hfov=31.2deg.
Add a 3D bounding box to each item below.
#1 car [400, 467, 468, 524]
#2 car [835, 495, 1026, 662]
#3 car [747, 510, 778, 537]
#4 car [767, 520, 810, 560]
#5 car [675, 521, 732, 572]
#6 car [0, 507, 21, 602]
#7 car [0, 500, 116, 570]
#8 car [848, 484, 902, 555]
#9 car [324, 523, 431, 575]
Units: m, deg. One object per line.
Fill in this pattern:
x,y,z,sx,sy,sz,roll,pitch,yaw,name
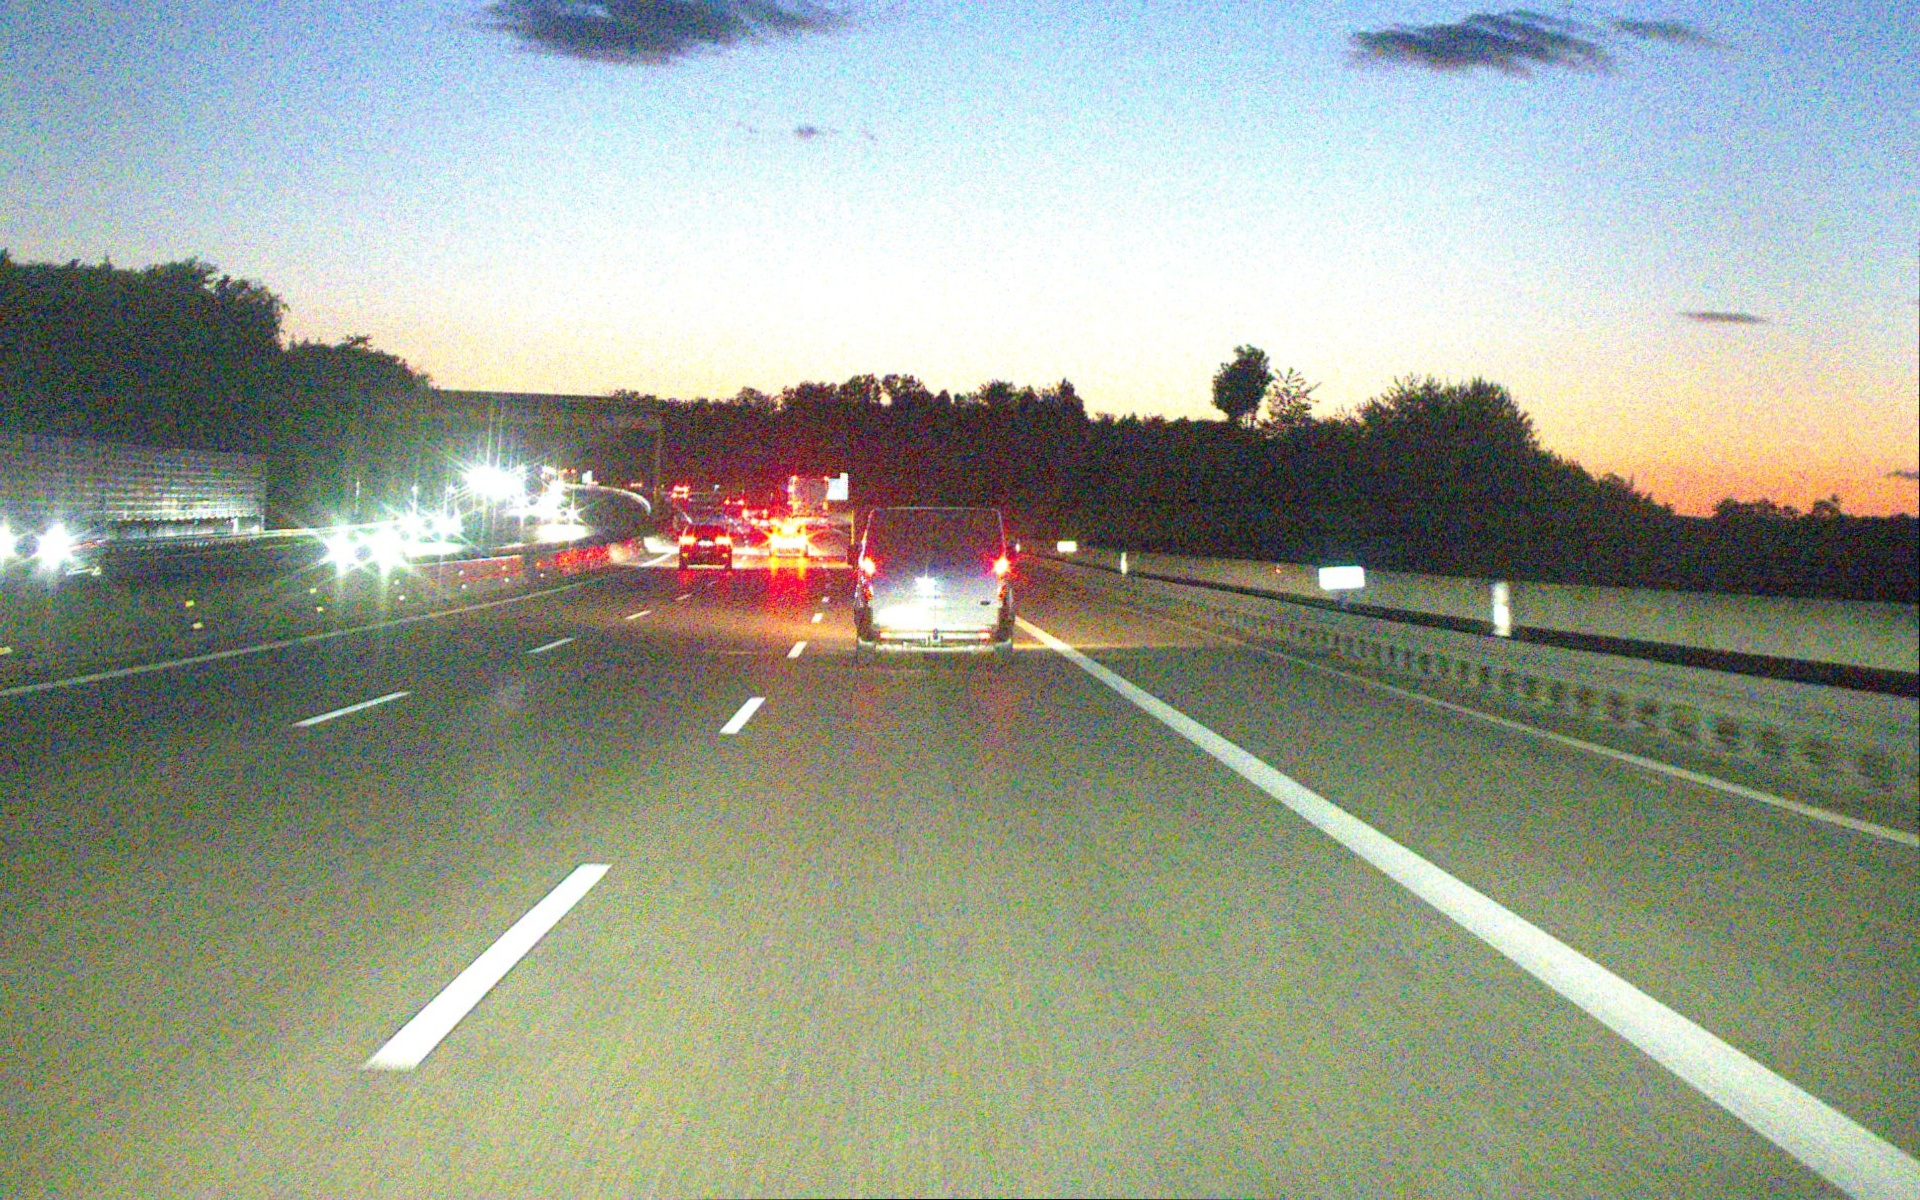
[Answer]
-29.483,-5.876,192.788,2.651,3.074,8.216,1,2,-1,car
-0.462,-0.345,44.727,2.115,1.994,5.665,1,2,-4,car
-13.702,-5.274,238.655,1.993,1.788,4.000,1,0,-1,car
-8.027,-2.798,161.346,1.993,1.788,4.000,1,0,-3,car
-9.375,-1.955,125.786,1.993,1.809,4.000,1,0,-3,car
-16.646,-0.738,54.606,2.118,1.550,5.109,1,1,-1,car
-24.249,-1.740,91.809,2.053,1.775,5.942,1,1,-1,car
-3.258,-3.124,132.605,2.032,2.637,5.726,1,2,-1,car
-18.206,-1.597,107.676,2.559,1.550,5.109,1,1,-1,car
